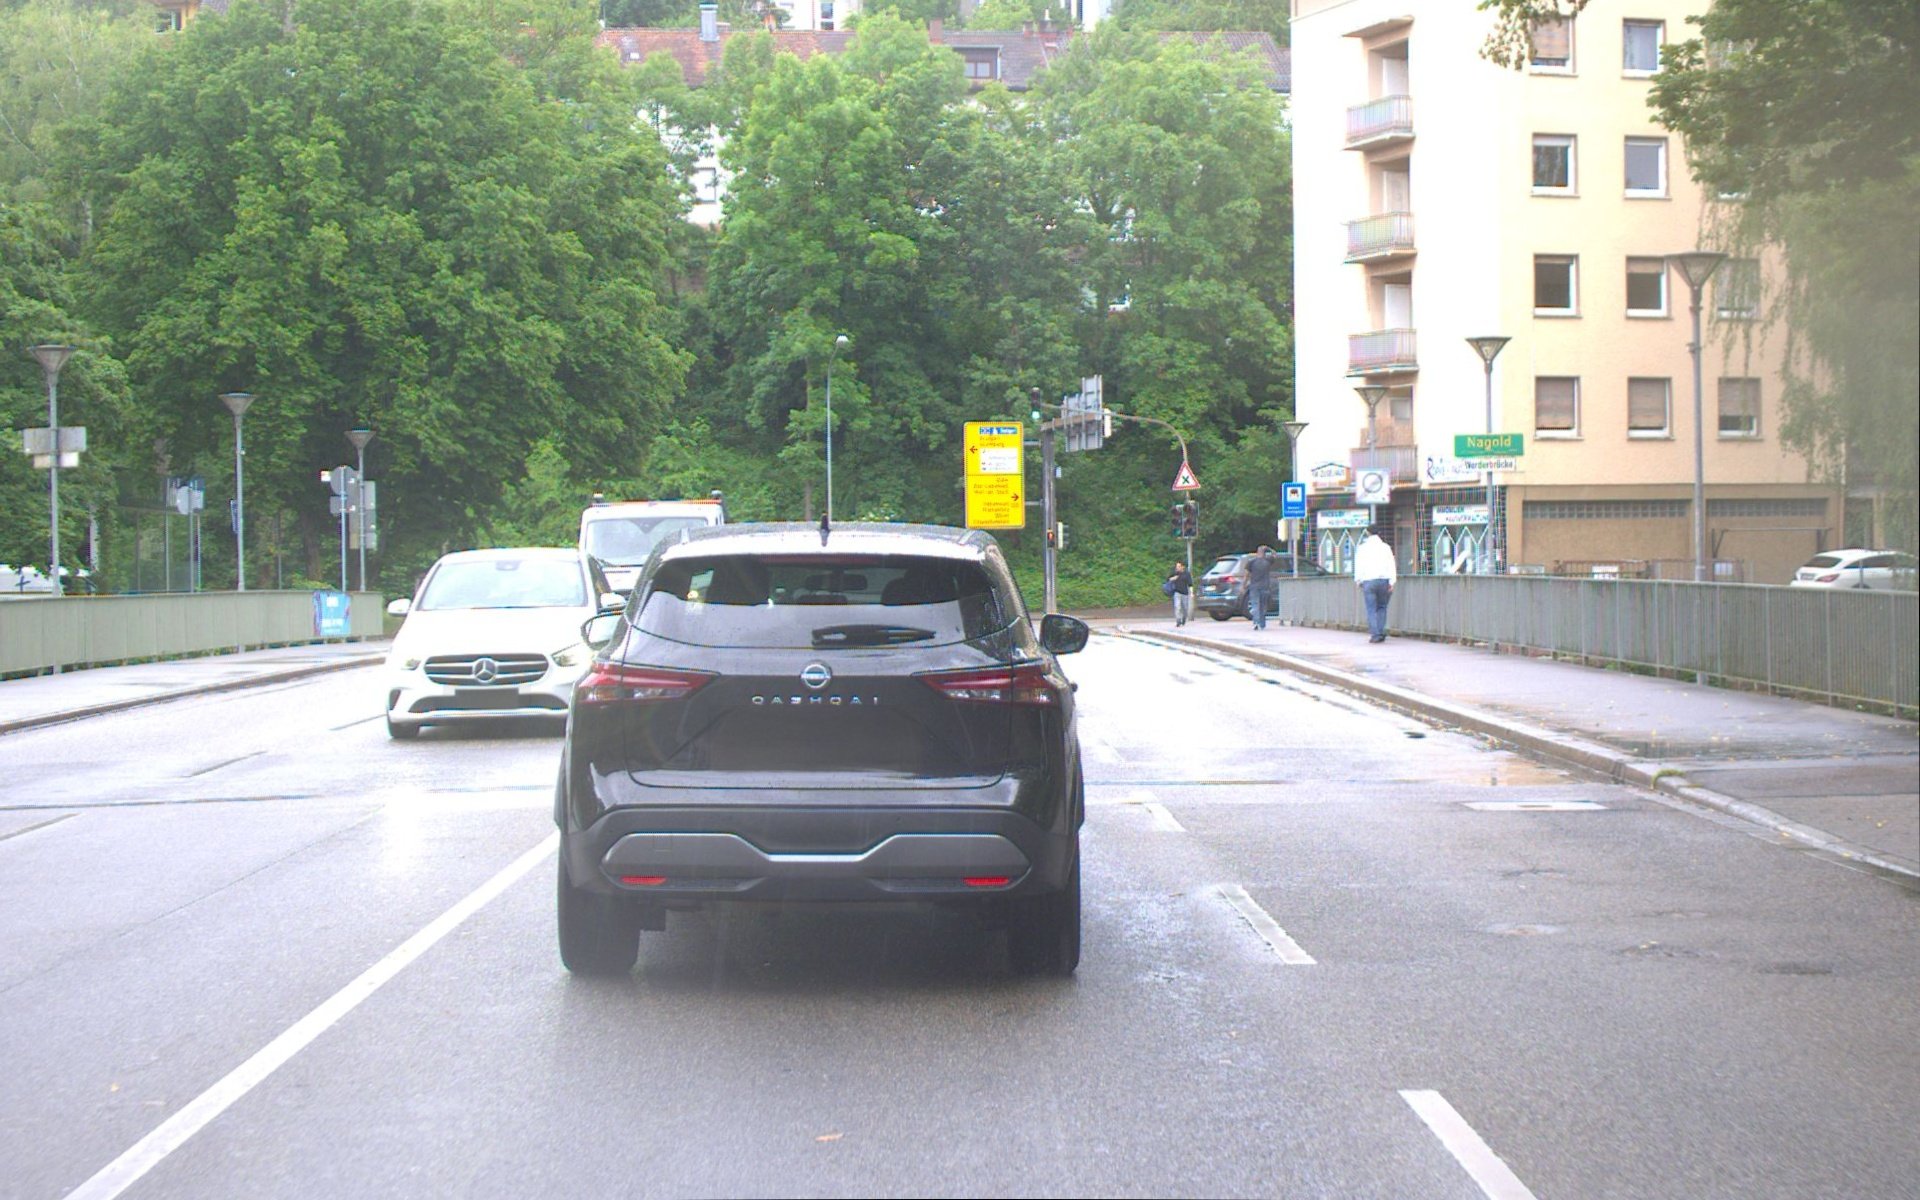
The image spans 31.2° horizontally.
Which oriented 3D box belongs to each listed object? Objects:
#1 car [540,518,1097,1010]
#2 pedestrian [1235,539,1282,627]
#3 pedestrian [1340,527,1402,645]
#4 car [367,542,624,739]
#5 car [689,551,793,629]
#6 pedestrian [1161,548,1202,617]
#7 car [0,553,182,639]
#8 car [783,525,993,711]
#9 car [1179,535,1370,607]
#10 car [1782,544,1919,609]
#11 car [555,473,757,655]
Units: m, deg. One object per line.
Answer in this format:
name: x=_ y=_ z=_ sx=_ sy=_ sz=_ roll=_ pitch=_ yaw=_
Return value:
car: x=-0.489 y=0.503 z=13.267 sx=1.811 sy=1.597 sz=4.000 roll=0 pitch=1 yaw=-1
pedestrian: x=5.843 y=-0.331 z=67.309 sx=0.761 sy=1.671 sz=0.781 roll=-3 pitch=1 yaw=0
pedestrian: x=6.200 y=-0.216 z=51.915 sx=0.779 sy=1.746 sz=1.061 roll=-1 pitch=0 yaw=-1
car: x=-3.880 y=0.286 z=29.281 sx=1.781 sy=1.469 sz=4.167 roll=-2 pitch=1 yaw=-3
car: x=-4.203 y=-0.213 z=66.420 sx=1.745 sy=1.434 sz=4.000 roll=-1 pitch=1 yaw=0
pedestrian: x=5.260 y=-0.408 z=81.718 sx=0.862 sy=1.613 sz=0.839 roll=-2 pitch=0 yaw=0
car: x=-20.209 y=-0.104 z=78.227 sx=4.741 sy=1.848 sz=2.001 roll=0 pitch=2 yaw=-9
car: x=-0.653 y=0.123 z=31.978 sx=1.811 sy=1.597 sz=4.000 roll=1 pitch=1 yaw=-1
car: x=7.882 y=-0.719 z=86.075 sx=4.366 sy=1.643 sz=1.884 roll=-2 pitch=0 yaw=-26
car: x=21.846 y=-0.573 z=81.154 sx=4.438 sy=1.371 sz=1.818 roll=-1 pitch=3 yaw=-17
car: x=-4.153 y=-0.545 z=48.096 sx=2.289 sy=2.300 sz=6.510 roll=-2 pitch=1 yaw=-1
